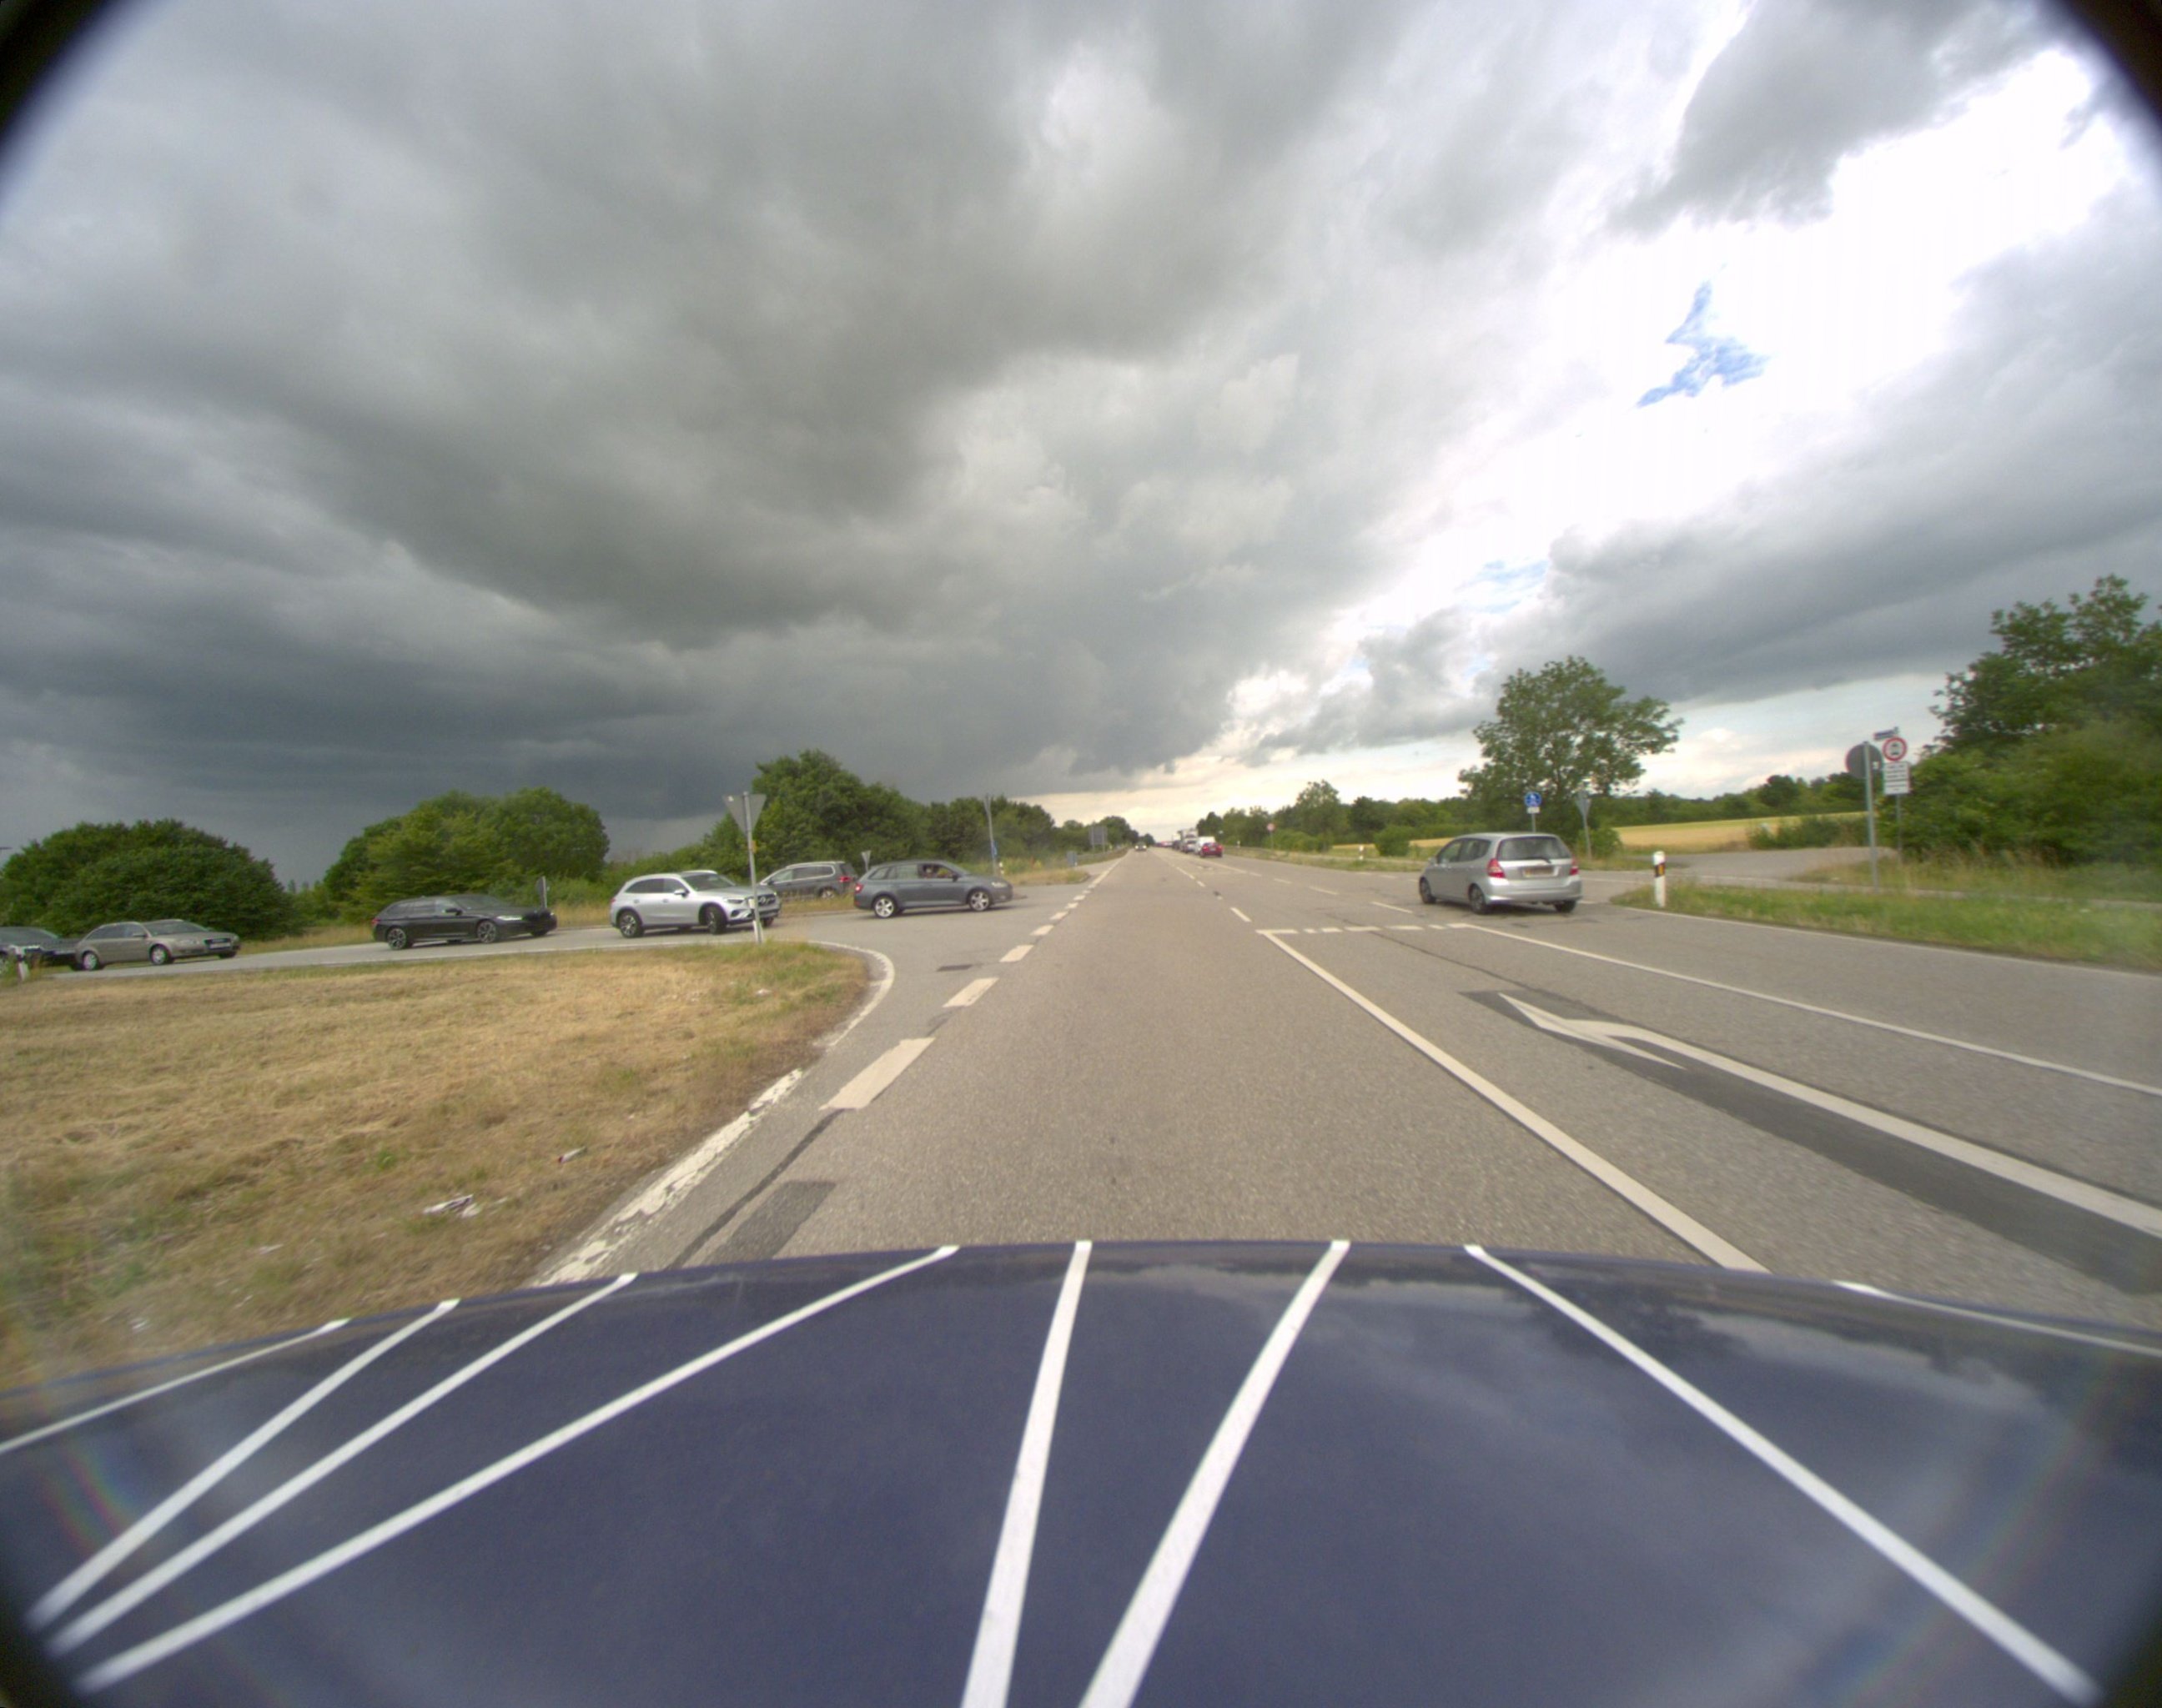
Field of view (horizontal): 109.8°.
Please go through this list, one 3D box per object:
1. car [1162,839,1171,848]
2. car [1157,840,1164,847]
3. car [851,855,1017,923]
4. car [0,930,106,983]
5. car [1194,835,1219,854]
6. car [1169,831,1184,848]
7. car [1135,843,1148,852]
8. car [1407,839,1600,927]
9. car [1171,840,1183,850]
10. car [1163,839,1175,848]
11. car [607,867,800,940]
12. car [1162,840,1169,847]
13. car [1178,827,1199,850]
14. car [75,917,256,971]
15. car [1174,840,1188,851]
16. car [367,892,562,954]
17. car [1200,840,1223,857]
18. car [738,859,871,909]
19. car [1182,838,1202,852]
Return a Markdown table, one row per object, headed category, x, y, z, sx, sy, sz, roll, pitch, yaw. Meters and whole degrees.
| category | x | y | z | sx | sy | sz | roll | pitch | yaw |
| --- | --- | --- | --- | --- | --- | --- | --- | --- | --- |
| car | 20.874 | -2.652 | 185.462 | 1.796 | 2.002 | 4.001 | -4 | 0 | 4 |
| car | 23.685 | -3.085 | 225.536 | 1.856 | 1.739 | 4.001 | -4 | 0 | 5 |
| car | -3.894 | 0.912 | 20.618 | 4.115 | 1.439 | 1.718 | -4 | 2 | -2 |
| car | -35.011 | 3.413 | 24.954 | 4.208 | 1.346 | 1.722 | -4 | 3 | 9 |
| car | 13.534 | -1.008 | 82.313 | 2.111 | 1.875 | 5.392 | -3 | 0 | 4 |
| car | 18.336 | -2.788 | 146.272 | 2.339 | 3.011 | 6.559 | -4 | 0 | 4 |
| car | 10.173 | -1.115 | 128.247 | 1.998 | 1.474 | 4.001 | -4 | 1 | 4 |
| car | 7.949 | 0.470 | 14.752 | 1.733 | 1.423 | 3.935 | -2 | 1 | 4 |
| car | 16.838 | -1.549 | 133.623 | 1.856 | 1.739 | 4.001 | -4 | 0 | 4 |
| car | 19.238 | -2.284 | 166.641 | 2.338 | 1.910 | 4.877 | -4 | 0 | 4 |
| car | -9.904 | 1.297 | 19.958 | 4.384 | 1.578 | 1.999 | -3 | 3 | 22 |
| car | 22.447 | -2.739 | 202.146 | 1.856 | 1.739 | 4.001 | -4 | 0 | 5 |
| car | 14.729 | -2.110 | 104.630 | 2.338 | 3.011 | 6.560 | -1 | 0 | 4 |
| car | -29.336 | 2.873 | 24.396 | 4.208 | 1.345 | 1.723 | -4 | 0 | 9 |
| car | 16.228 | -1.346 | 123.456 | 1.846 | 1.516 | 4.001 | -4 | 0 | 4 |
| car | -18.028 | 2.010 | 22.296 | 4.688 | 1.346 | 1.723 | -4 | 3 | 11 |
| car | 11.789 | -0.498 | 69.010 | 1.676 | 1.393 | 4.090 | -2 | 0 | 5 |
| car | -10.309 | 1.092 | 28.516 | 4.286 | 1.648 | 1.754 | -2 | 1 | 3 |
| car | 13.520 | -1.092 | 92.468 | 1.998 | 1.614 | 4.262 | -1 | 0 | 3 |
